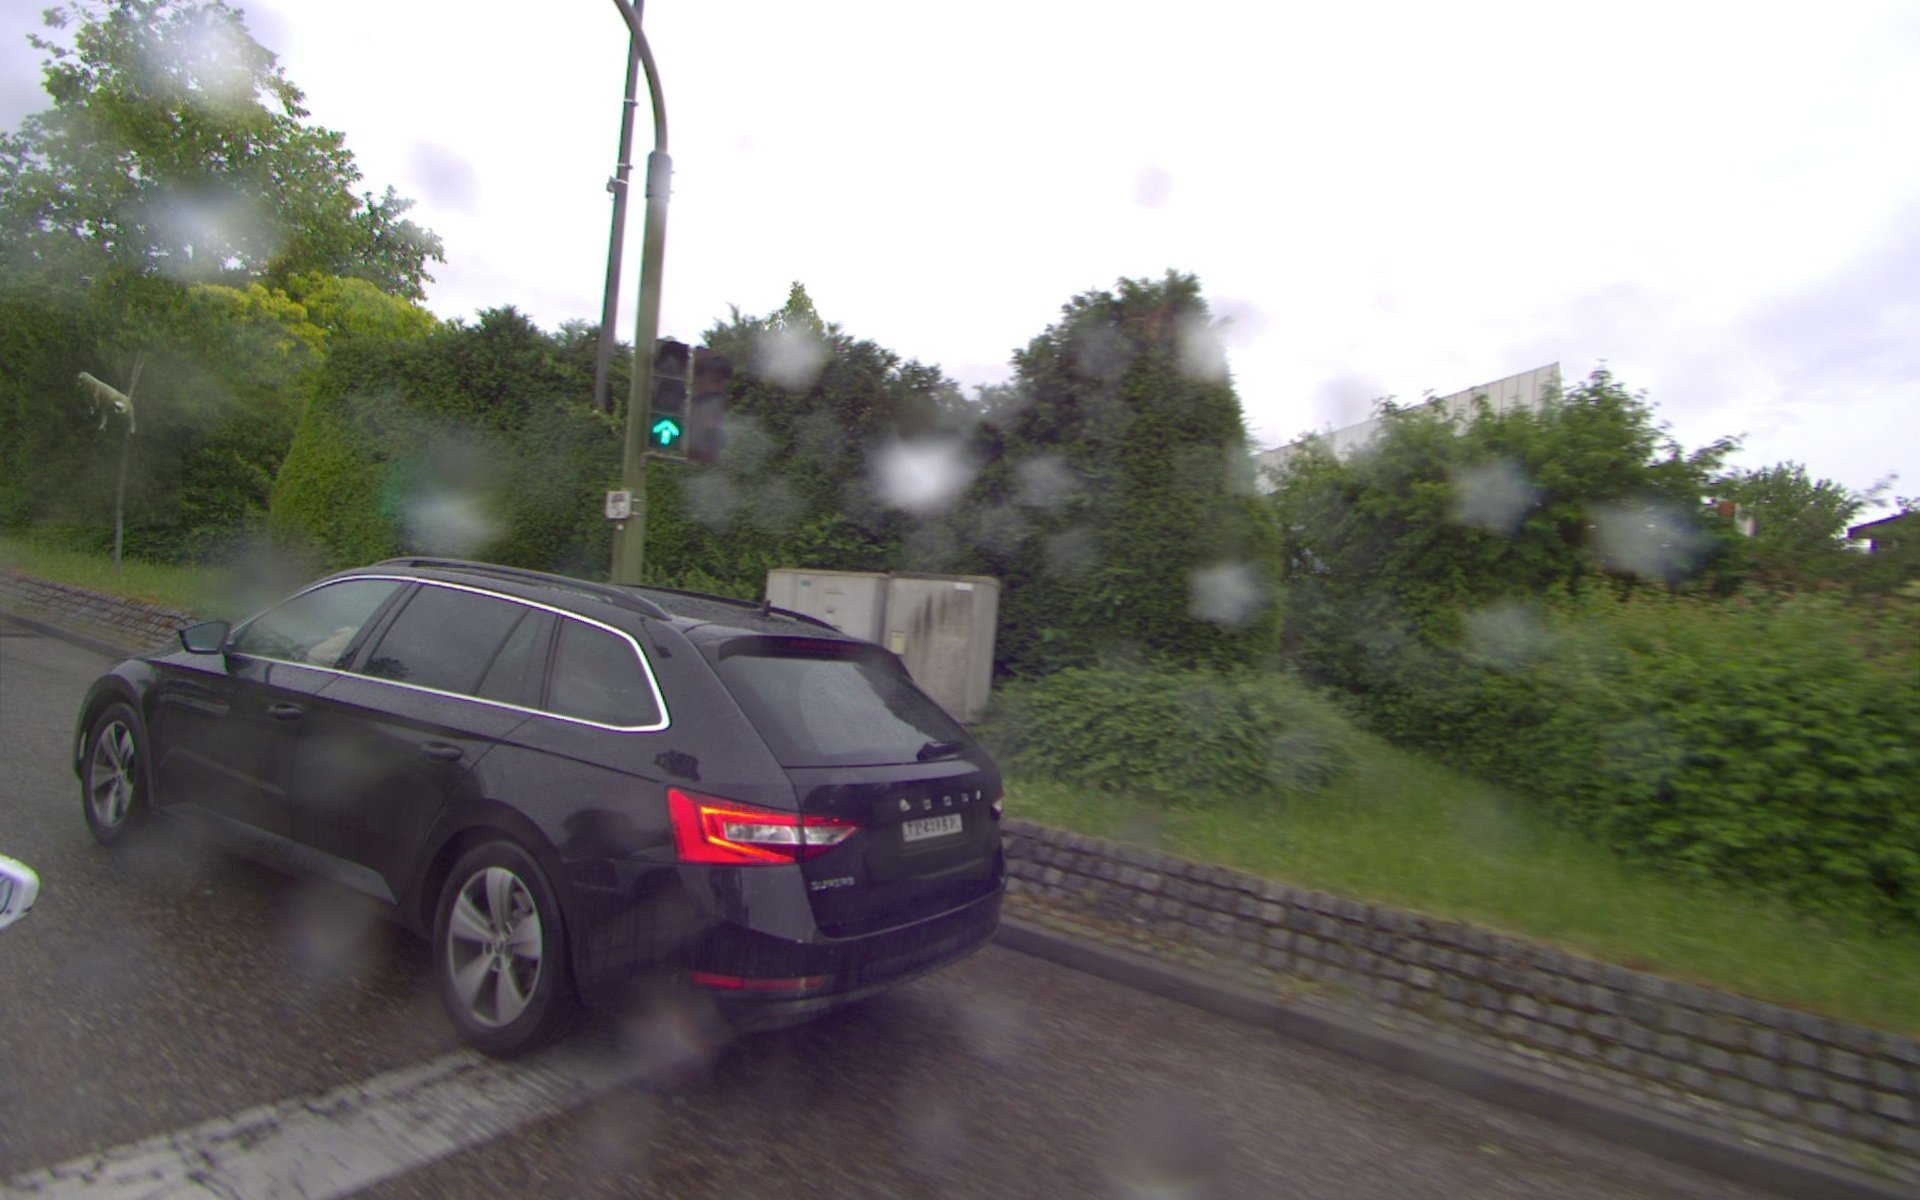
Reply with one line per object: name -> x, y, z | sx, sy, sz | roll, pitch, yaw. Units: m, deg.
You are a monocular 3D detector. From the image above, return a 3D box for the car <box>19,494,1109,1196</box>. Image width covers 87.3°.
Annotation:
car -> -1.905, 0.572, 4.414 | 4.532, 1.524, 1.959 | 6, -3, 31

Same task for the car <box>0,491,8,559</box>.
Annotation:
car -> -11.461, -0.593, 9.941 | 4.230, 1.426, 1.851 | 6, -2, 31
